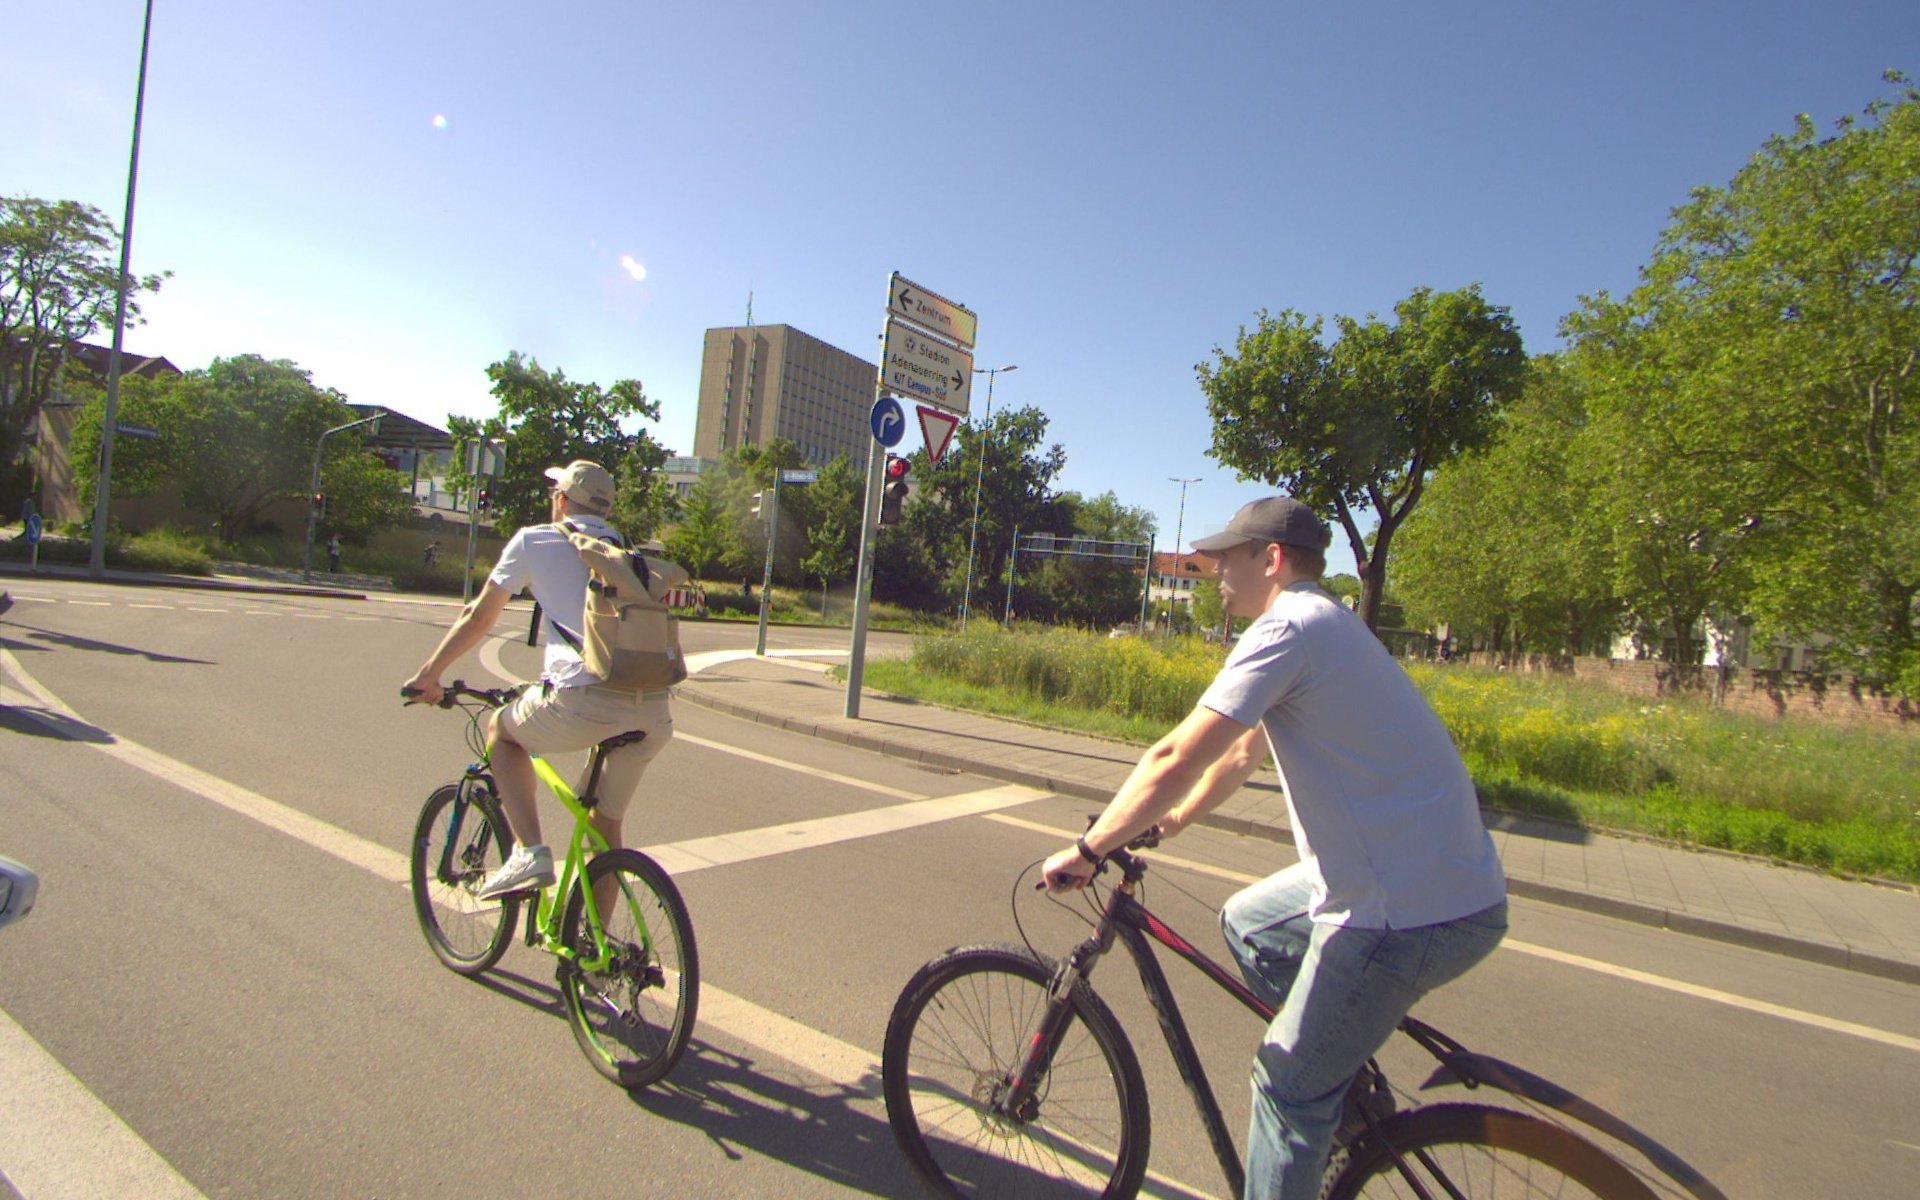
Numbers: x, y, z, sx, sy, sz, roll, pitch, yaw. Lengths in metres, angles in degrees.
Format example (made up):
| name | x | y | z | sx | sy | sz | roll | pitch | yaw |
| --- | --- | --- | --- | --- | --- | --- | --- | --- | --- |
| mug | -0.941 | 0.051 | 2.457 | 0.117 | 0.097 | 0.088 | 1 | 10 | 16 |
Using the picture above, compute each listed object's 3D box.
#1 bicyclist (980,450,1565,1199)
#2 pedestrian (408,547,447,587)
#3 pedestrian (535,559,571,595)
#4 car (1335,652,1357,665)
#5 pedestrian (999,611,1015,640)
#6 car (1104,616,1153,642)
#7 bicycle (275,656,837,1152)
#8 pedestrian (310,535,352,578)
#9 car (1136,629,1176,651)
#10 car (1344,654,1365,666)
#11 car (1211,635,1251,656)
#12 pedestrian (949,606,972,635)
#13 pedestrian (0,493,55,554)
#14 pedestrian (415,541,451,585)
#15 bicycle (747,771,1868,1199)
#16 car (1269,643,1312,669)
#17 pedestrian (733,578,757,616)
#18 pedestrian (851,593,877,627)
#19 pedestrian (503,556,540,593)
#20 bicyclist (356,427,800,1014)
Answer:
| name | x | y | z | sx | sy | sz | roll | pitch | yaw |
| --- | --- | --- | --- | --- | --- | --- | --- | --- | --- |
| bicyclist | 0.658 | 0.612 | 2.104 | 0.851 | 1.695 | 0.741 | 7 | 1 | 30 |
| pedestrian | -22.429 | -1.397 | 42.404 | 0.865 | 1.540 | 1.074 | 7 | 1 | 36 |
| pedestrian | -19.561 | -1.109 | 48.359 | 0.975 | 1.540 | 1.129 | 7 | 1 | 35 |
| car | 57.580 | 8.742 | 149.960 | 1.893 | 1.625 | 4.069 | 7 | 0 | 37 |
| pedestrian | 3.781 | 2.054 | 80.481 | 0.633 | 2.194 | 0.912 | 7 | 1 | 35 |
| car | 12.970 | 2.239 | 77.193 | 1.882 | 1.625 | 4.124 | 7 | 0 | 37 |
| bicycle | -1.396 | 0.846 | 3.359 | 1.813 | 1.063 | 0.672 | 6 | -1 | 31 |
| pedestrian | -25.131 | -1.723 | 40.179 | 0.917 | 1.540 | 1.083 | 7 | 1 | 41 |
| car | 16.900 | 3.441 | 86.613 | 1.806 | 1.590 | 3.989 | 7 | 0 | 34 |
| car | 55.270 | 8.445 | 140.974 | 1.967 | 1.378 | 4.001 | 6 | 0 | 31 |
| car | 26.592 | 4.471 | 98.631 | 1.909 | 1.613 | 4.860 | 7 | 0 | 38 |
| pedestrian | 0.054 | 1.575 | 77.317 | 1.065 | 2.106 | 1.231 | 7 | 1 | 35 |
| pedestrian | -31.771 | -2.591 | 34.199 | 0.953 | 1.879 | 1.294 | 7 | 1 | 43 |
| pedestrian | -22.899 | -1.595 | 43.713 | 0.912 | 1.754 | 0.962 | 7 | 1 | 37 |
| bicycle | 0.538 | 1.095 | 2.151 | 1.871 | 1.064 | 0.748 | 6 | 1 | 30 |
| car | 23.031 | 3.907 | 69.993 | 1.714 | 1.535 | 3.989 | 7 | 0 | 34 |
| pedestrian | -12.534 | -0.188 | 58.687 | 0.800 | 2.106 | 0.896 | 7 | 1 | 35 |
| pedestrian | -6.282 | 0.646 | 65.677 | 0.966 | 2.106 | 1.186 | 7 | 1 | 35 |
| pedestrian | -20.219 | -1.176 | 46.398 | 0.927 | 1.540 | 1.145 | 7 | 1 | 38 |
| bicyclist | -1.249 | 0.314 | 3.306 | 1.063 | 1.601 | 0.675 | 7 | -1 | 31 |
